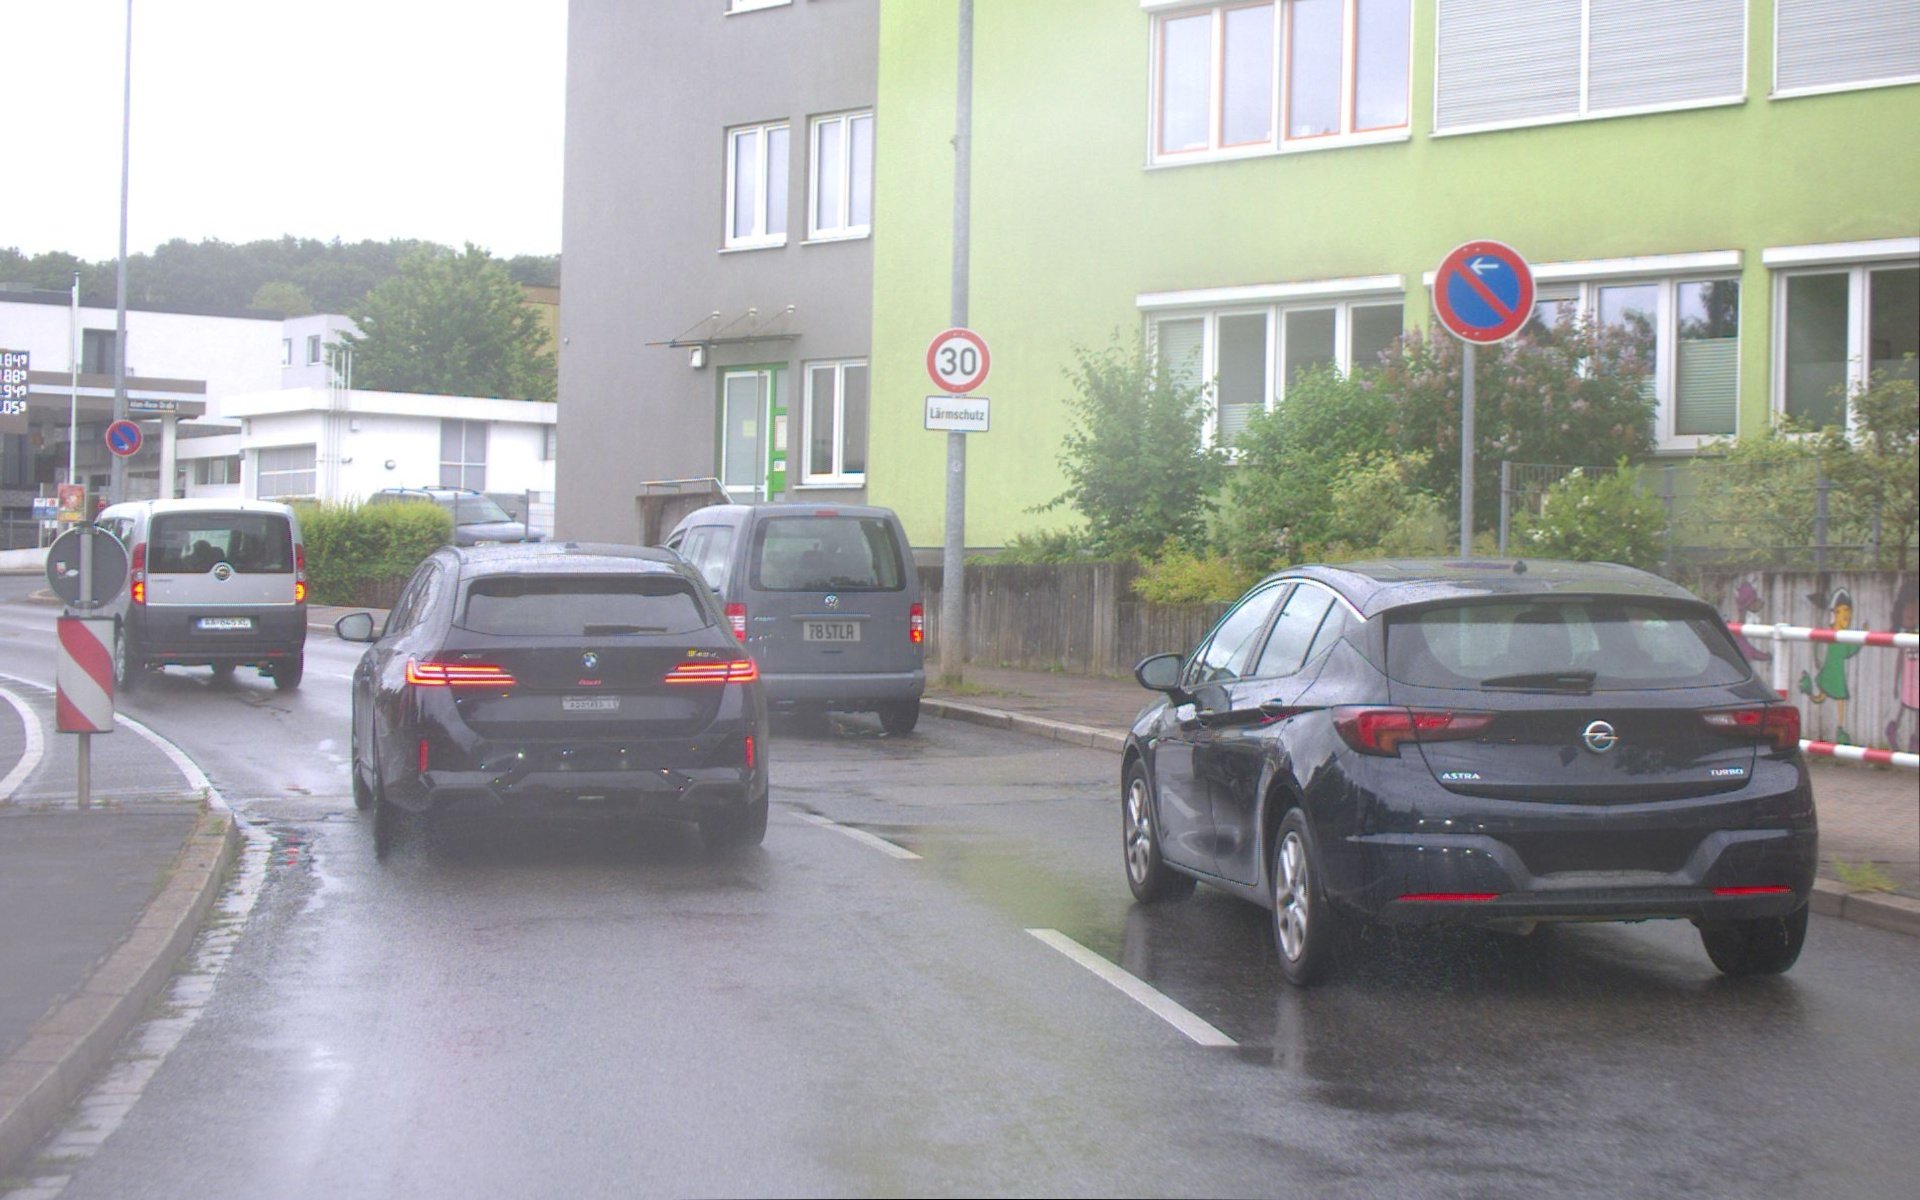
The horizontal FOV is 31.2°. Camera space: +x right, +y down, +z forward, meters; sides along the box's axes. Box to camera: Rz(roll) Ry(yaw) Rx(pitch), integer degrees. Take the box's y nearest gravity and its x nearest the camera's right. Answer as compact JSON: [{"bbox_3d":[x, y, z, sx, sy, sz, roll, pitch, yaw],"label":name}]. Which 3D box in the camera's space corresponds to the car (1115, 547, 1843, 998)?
[{"bbox_3d":[1.780,0.572,13.109,1.756,1.444,4.001,0,0,-6],"label":"car"}]

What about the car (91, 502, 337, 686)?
[{"bbox_3d":[-7.562,-0.042,34.598,1.993,1.732,4.001,1,-1,-18],"label":"car"}]

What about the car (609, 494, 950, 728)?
[{"bbox_3d":[-1.551,0.103,28.039,1.838,1.761,4.001,1,0,-17],"label":"car"}]

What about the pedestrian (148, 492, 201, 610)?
[{"bbox_3d":[-13.572,-0.837,59.393,0.715,2.007,0.614,1,-1,-31],"label":"pedestrian"}]

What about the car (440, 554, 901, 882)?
[{"bbox_3d":[-1.605,0.551,17.631,1.993,1.479,4.001,0,0,-10],"label":"car"}]
